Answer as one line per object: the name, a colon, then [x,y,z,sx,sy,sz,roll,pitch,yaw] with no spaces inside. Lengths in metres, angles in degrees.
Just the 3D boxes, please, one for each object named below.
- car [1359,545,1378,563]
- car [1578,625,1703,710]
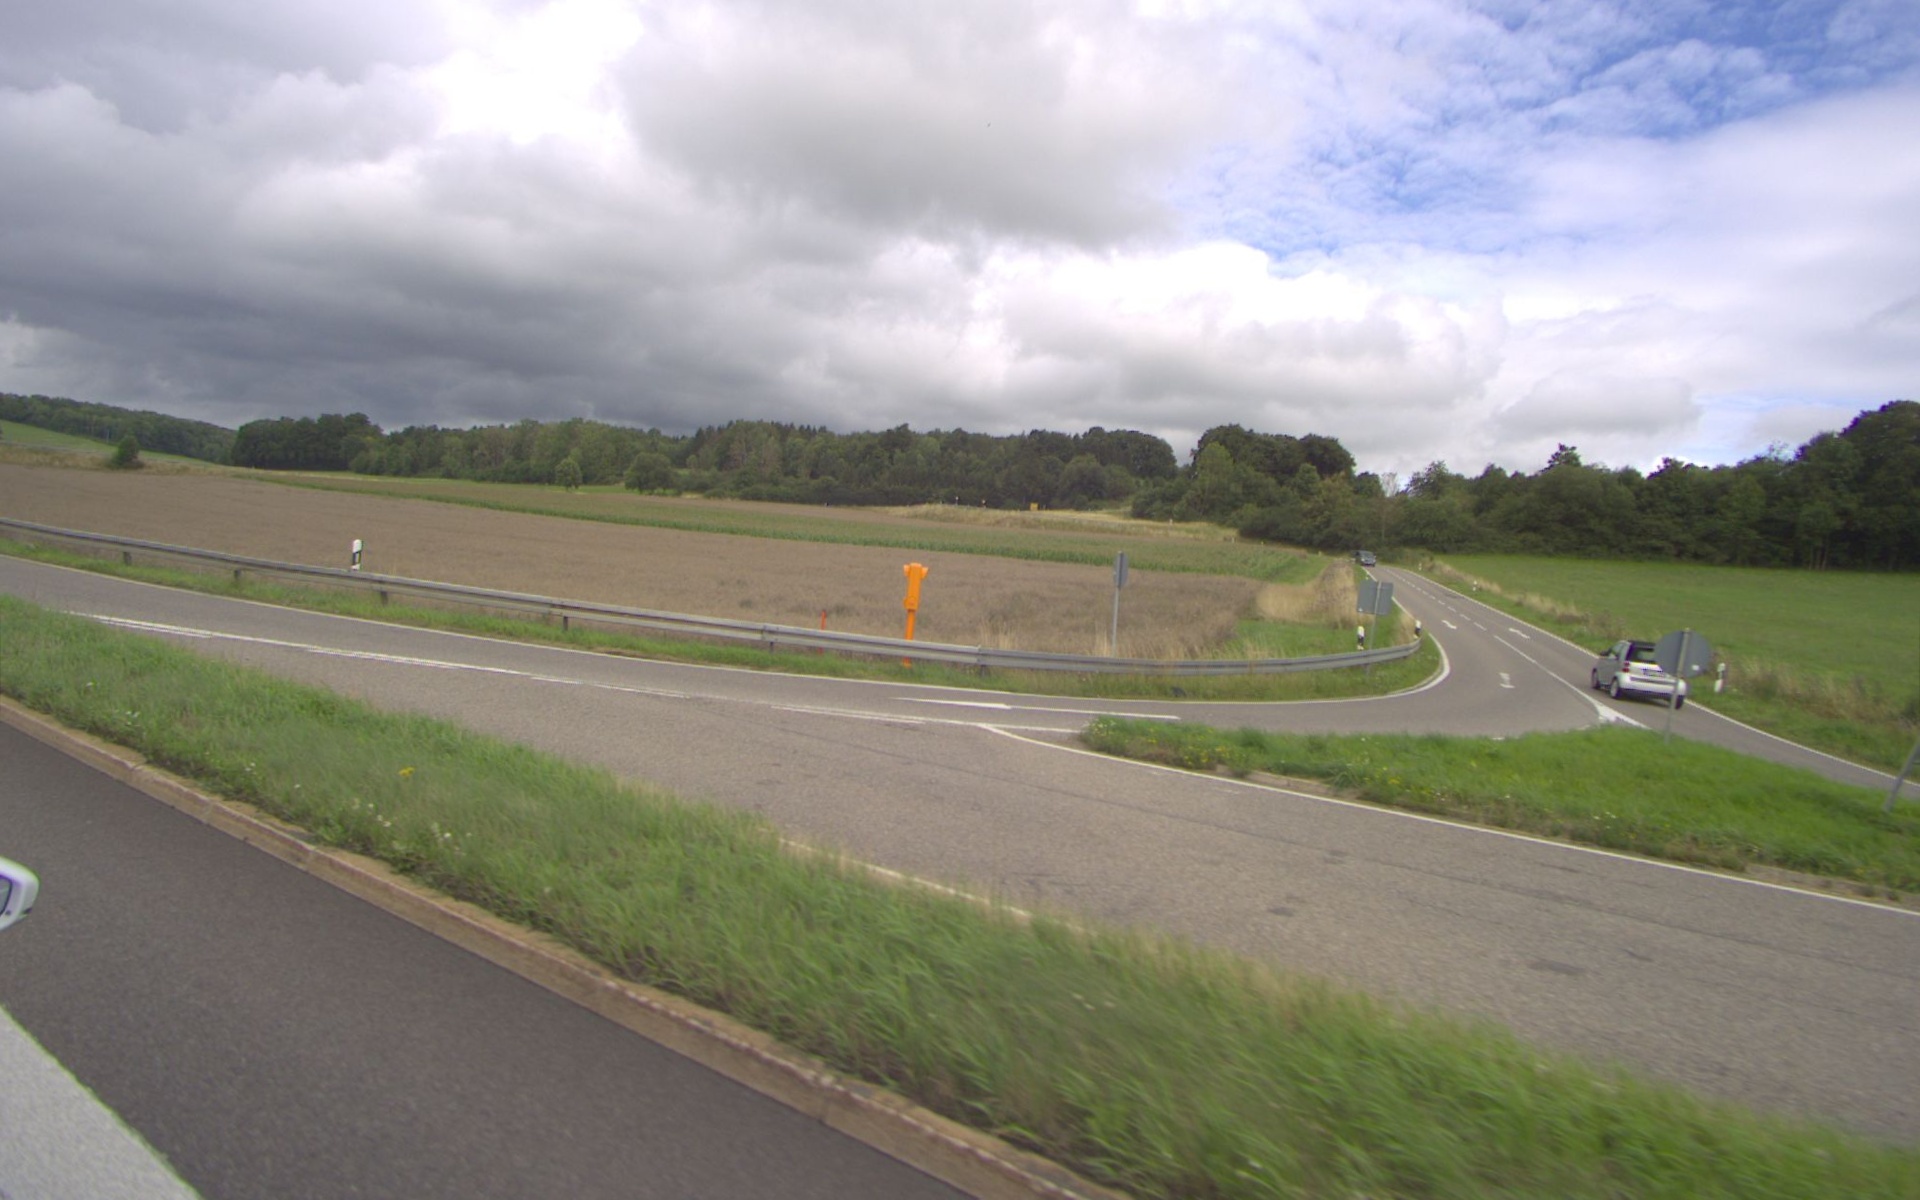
car: [54.915,-6.115,135.164,1.963,2.040,3.996,6,2,20]
car: [18.475,1.768,27.526,1.750,1.575,3.988,7,7,20]
